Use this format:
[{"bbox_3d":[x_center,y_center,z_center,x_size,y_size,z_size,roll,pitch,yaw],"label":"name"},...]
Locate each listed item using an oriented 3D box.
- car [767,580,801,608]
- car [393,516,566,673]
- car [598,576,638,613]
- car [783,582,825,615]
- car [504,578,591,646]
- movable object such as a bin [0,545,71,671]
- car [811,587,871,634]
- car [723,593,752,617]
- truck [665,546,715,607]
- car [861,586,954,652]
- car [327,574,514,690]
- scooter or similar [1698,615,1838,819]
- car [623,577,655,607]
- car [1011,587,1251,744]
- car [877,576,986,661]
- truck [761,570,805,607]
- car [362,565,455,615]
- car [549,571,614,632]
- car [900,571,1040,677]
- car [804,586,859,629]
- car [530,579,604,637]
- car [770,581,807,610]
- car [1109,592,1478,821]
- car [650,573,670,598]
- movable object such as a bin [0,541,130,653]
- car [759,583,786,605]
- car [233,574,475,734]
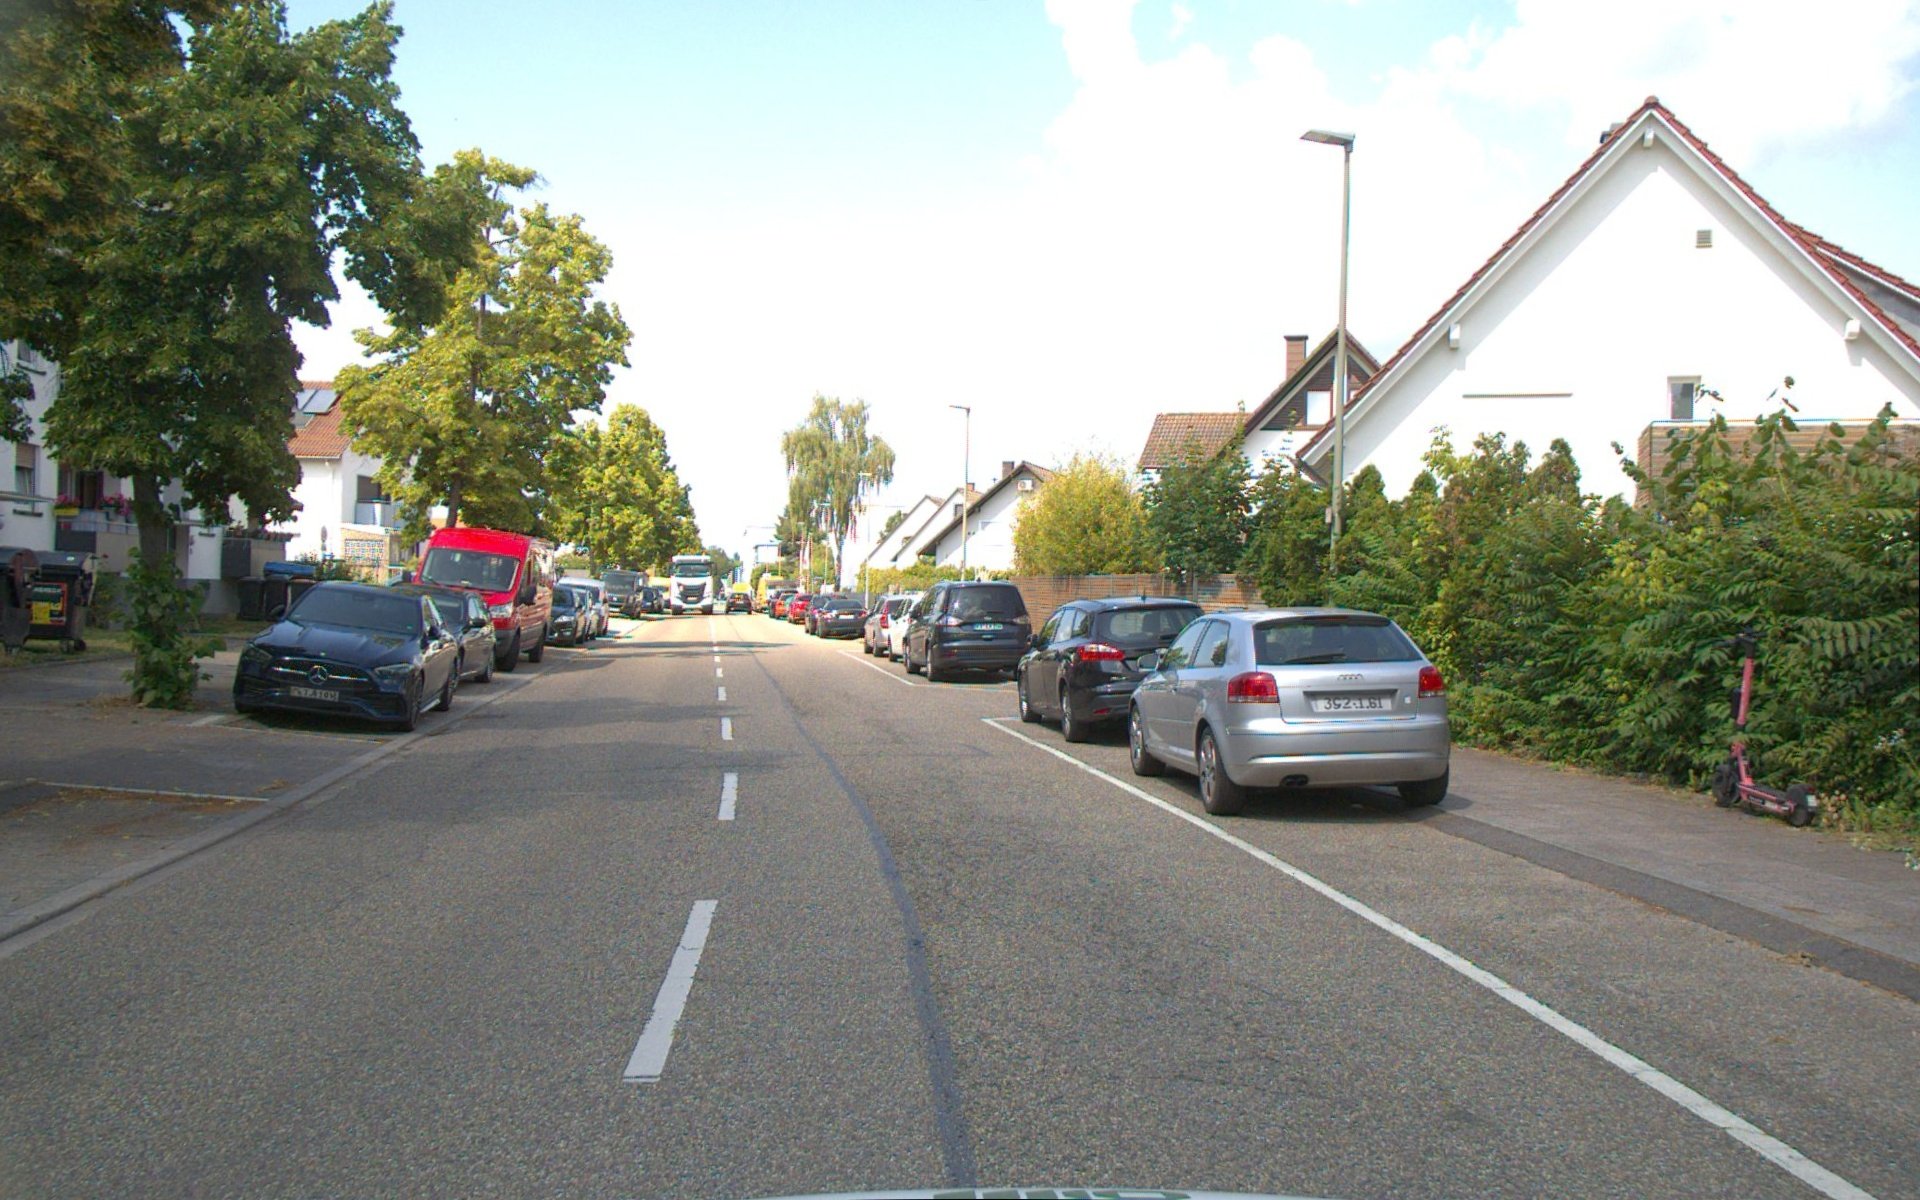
[{"bbox_3d":[-10.211,-0.357,95.710,1.762,1.550,4.522,1,1,-9],"label":"car"},{"bbox_3d":[-8.946,-0.137,31.320,2.025,2.543,5.832,5,0,-7],"label":"car"},{"bbox_3d":[-16.909,-0.294,81.951,1.755,1.628,4.424,5,0,-11],"label":"car"},{"bbox_3d":[-7.683,-0.109,81.198,1.762,1.550,4.522,1,1,-9],"label":"car"},{"bbox_3d":[-10.376,0.266,41.829,1.755,1.482,4.424,5,0,-11],"label":"car"},{"bbox_3d":[-12.331,0.076,20.897,1.328,1.530,1.824,0,1,-6],"label":"movable object such as a bin"},{"bbox_3d":[-4.235,0.333,58.224,1.762,1.550,3.965,1,1,-9],"label":"car"},{"bbox_3d":[-15.091,0.300,112.271,1.762,1.550,4.521,1,1,-10],"label":"car"},{"bbox_3d":[-16.704,-1.442,102.906,2.809,3.574,12.331,1,1,-8],"label":"truck"},{"bbox_3d":[-1.354,0.435,41.087,1.762,1.550,3.964,1,1,-10],"label":"car"},{"bbox_3d":[-8.075,0.440,25.145,1.753,1.482,4.429,5,0,-7],"label":"car"},{"bbox_3d":[5.432,0.751,11.169,0.208,1.274,1.242,1,0,-6],"label":"scooter or similar"},{"bbox_3d":[-19.955,-0.506,102.952,1.755,1.628,4.424,5,0,-11],"label":"car"},{"bbox_3d":[1.785,0.647,18.720,1.704,1.535,4.468,1,1,-8],"label":"car"},{"bbox_3d":[-0.688,0.368,36.709,1.763,1.779,3.963,1,1,-11],"label":"car"},{"bbox_3d":[-11.416,-0.762,106.360,2.521,2.300,6.521,1,1,-9],"label":"truck"},{"bbox_3d":[-18.611,-0.332,56.005,1.752,1.482,4.433,5,0,-3],"label":"car"},{"bbox_3d":[-12.365,0.026,54.203,1.755,1.776,4.424,5,0,-11],"label":"car"},{"bbox_3d":[0.101,0.389,30.286,1.762,1.779,4.573,1,1,-10],"label":"car"},{"bbox_3d":[-4.901,0.268,62.625,1.762,1.550,3.965,1,1,-9],"label":"car"},{"bbox_3d":[-11.366,0.208,48.062,1.755,1.482,4.424,5,0,-11],"label":"car"},{"bbox_3d":[-9.489,-0.283,91.182,1.762,1.550,4.522,1,1,-9],"label":"car"},{"bbox_3d":[2.421,0.704,13.164,1.703,1.483,4.360,1,1,-5],"label":"car"},{"bbox_3d":[-27.758,-1.313,152.851,1.755,2.291,4.760,0,0,-11],"label":"car"},{"bbox_3d":[-12.899,-0.049,23.590,1.328,1.530,1.824,0,1,-6],"label":"movable object such as a bin"},{"bbox_3d":[-13.903,-0.479,122.441,1.762,1.550,4.521,1,1,-10],"label":"car"},{"bbox_3d":[-6.722,0.529,18.811,1.755,1.482,4.424,5,0,-11],"label":"car"}]
